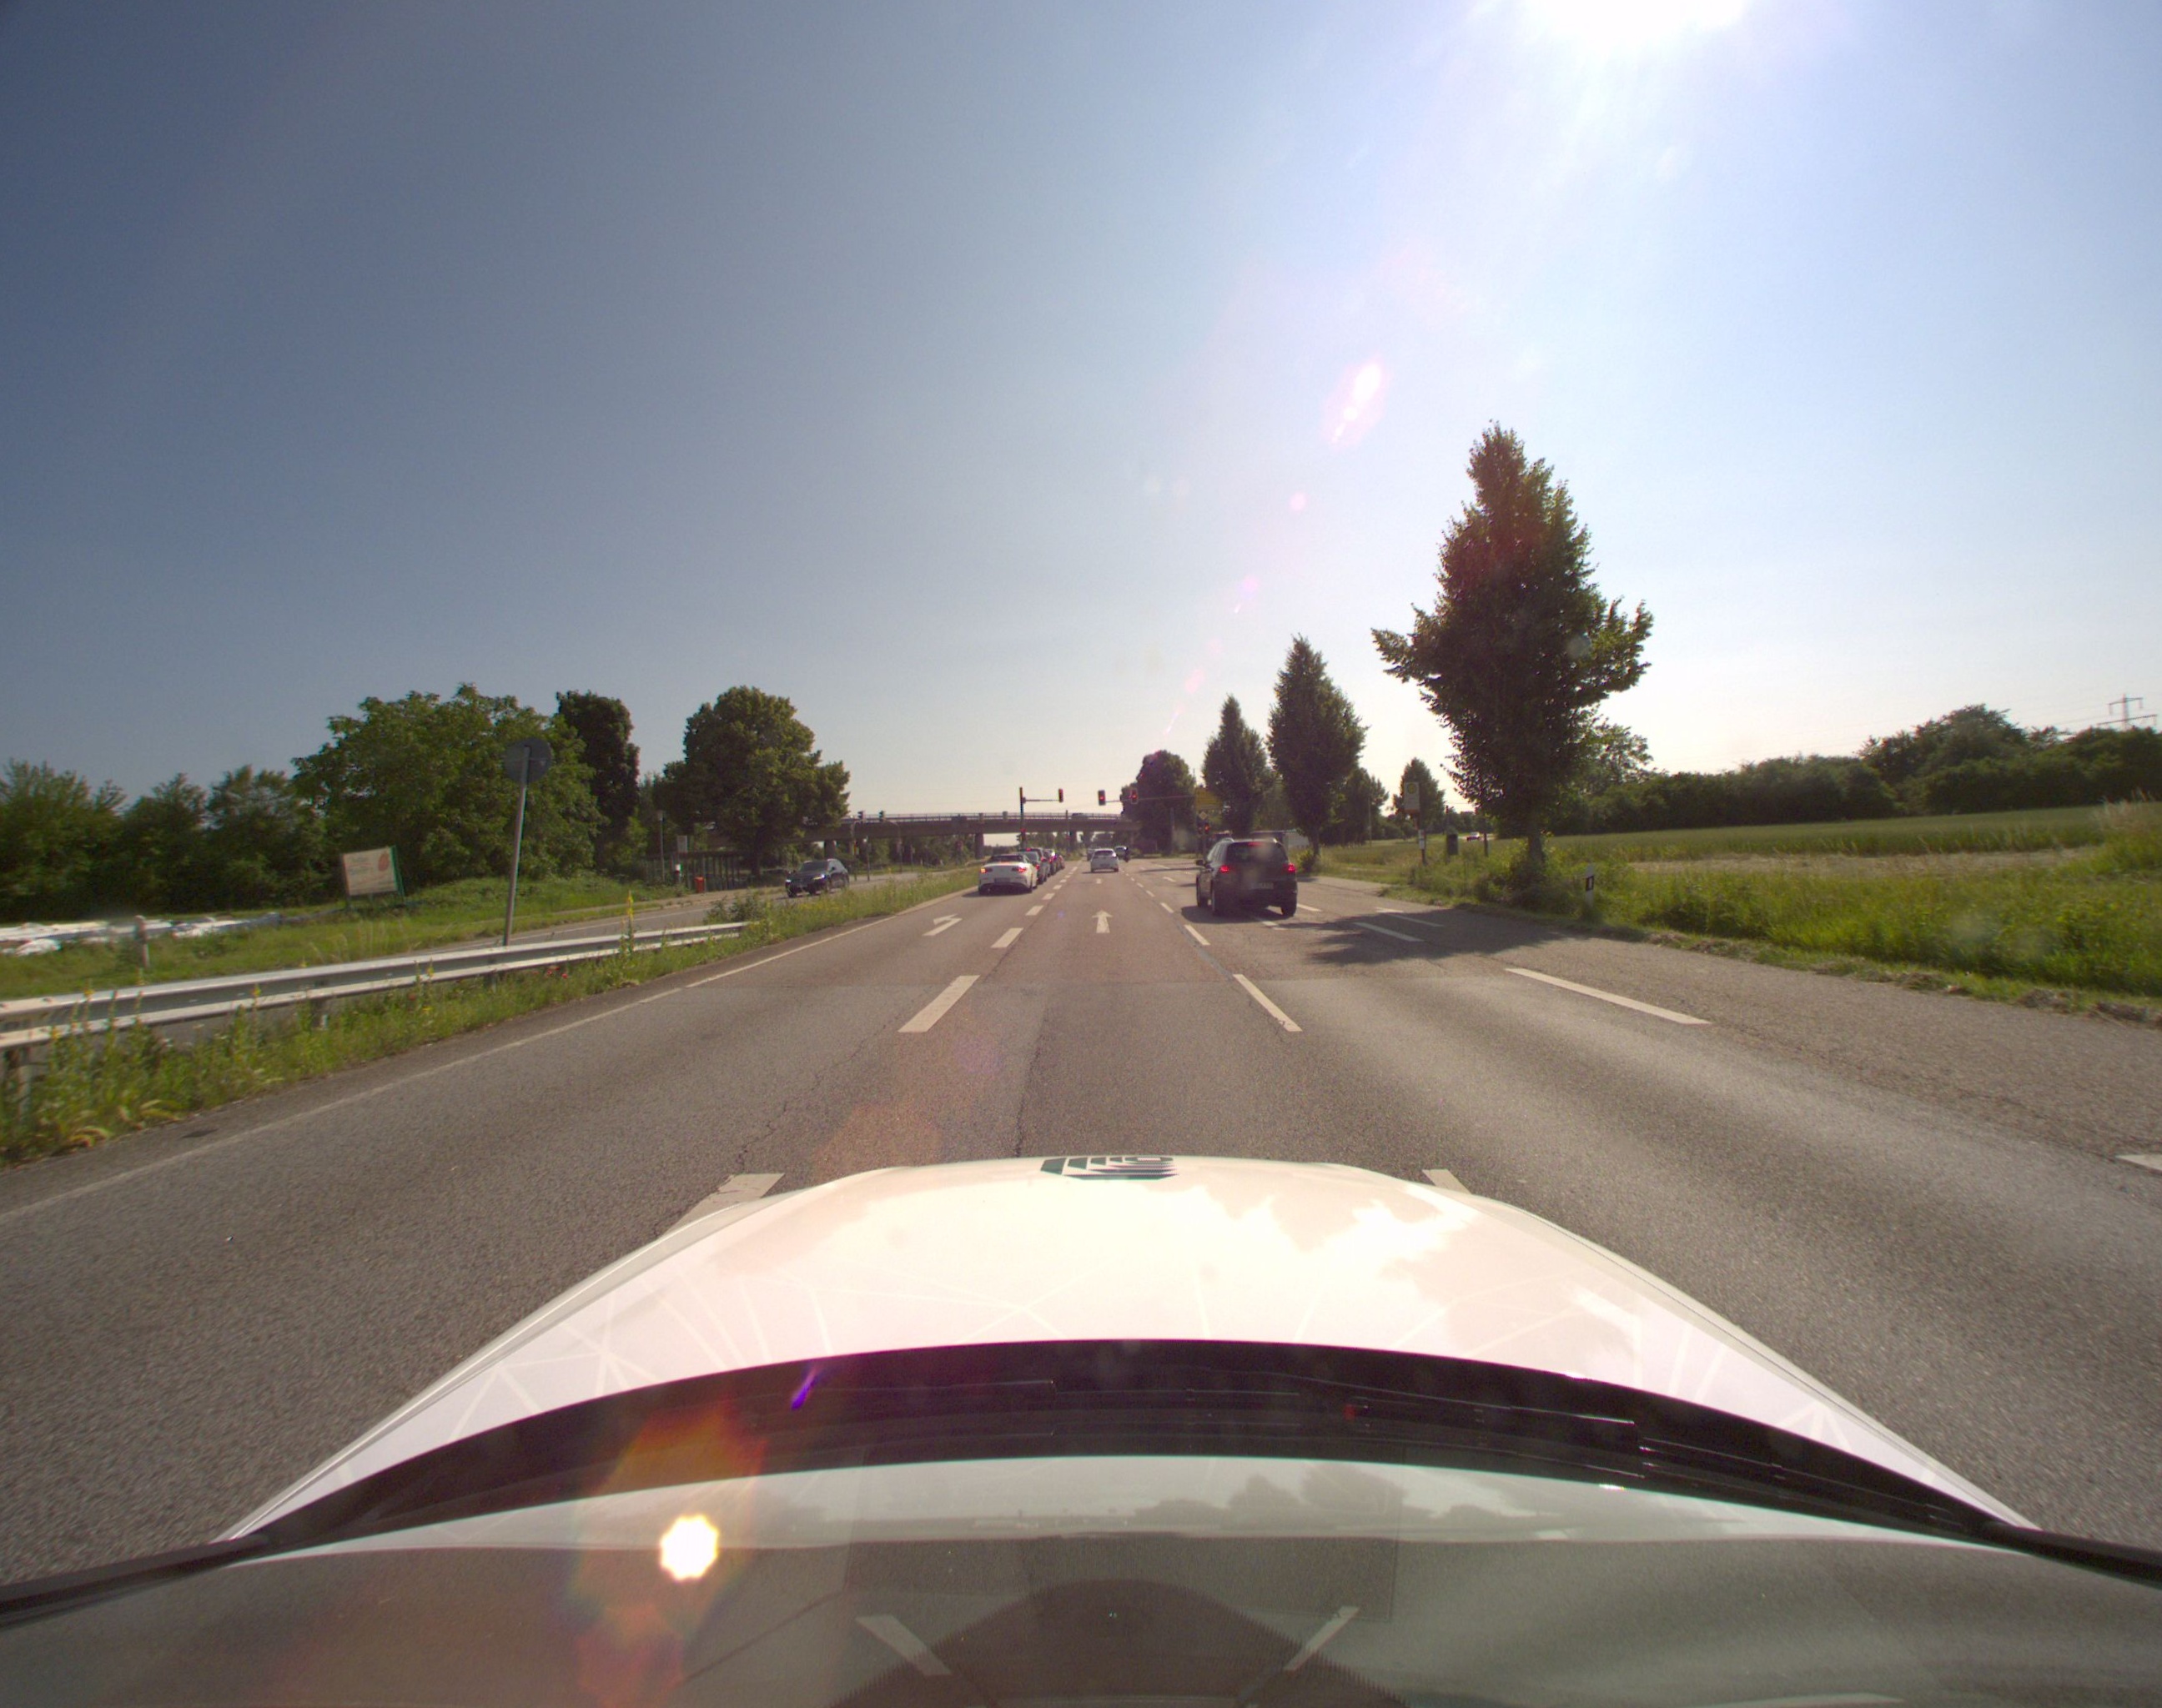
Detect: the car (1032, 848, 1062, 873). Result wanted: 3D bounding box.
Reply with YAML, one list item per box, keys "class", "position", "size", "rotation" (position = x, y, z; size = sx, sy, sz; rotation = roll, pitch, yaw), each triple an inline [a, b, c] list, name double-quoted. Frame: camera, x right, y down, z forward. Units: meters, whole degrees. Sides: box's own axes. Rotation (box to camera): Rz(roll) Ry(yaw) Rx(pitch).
- class: "car"
  position: [-2.278, 0.396, 54.999]
  size: [1.722, 1.547, 4.099]
  rotation: [-2, 0, 1]

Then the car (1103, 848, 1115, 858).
- class: "car"
  position: [4.829, -0.111, 141.050]
  size: [1.987, 1.631, 4.000]
  rotation: [0, -1, 0]

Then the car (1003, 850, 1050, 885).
- class: "car"
  position: [-2.393, 0.570, 36.646]
  size: [1.708, 1.410, 4.356]
  rotation: [-1, 1, 1]

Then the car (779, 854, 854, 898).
- class: "car"
  position: [-12.962, 1.014, 40.259]
  size: [1.987, 1.840, 4.953]
  rotation: [-5, 1, 0]

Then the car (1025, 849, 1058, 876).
- class: "car"
  position: [-2.304, 0.461, 48.510]
  size: [1.660, 1.474, 4.099]
  rotation: [-2, 0, 1]

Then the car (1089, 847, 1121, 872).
- class: "car"
  position: [1.504, 0.327, 50.780]
  size: [1.844, 1.460, 4.002]
  rotation: [-1, 0, 2]

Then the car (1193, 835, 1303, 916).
- class: "car"
  position: [3.734, 0.436, 18.873]
  size: [1.749, 1.655, 4.147]
  rotation: [-1, 0, 1]

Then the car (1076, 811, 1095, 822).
- class: "car"
  position: [0.839, -7.091, 155.093]
  size: [1.975, 1.949, 3.838]
  rotation: [-1, -1, 29]

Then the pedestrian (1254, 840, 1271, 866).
- class: "pedestrian"
  position: [13.706, -0.078, 61.496]
  size: [0.899, 1.839, 1.194]
  rotation: [-3, 0, -2]

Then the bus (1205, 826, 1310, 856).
- class: "bus"
  position: [20.883, -1.549, 96.408]
  size: [11.958, 2.877, 2.927]
  rotation: [-3, 0, -15]

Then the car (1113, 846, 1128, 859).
- class: "car"
  position: [5.019, -0.216, 103.298]
  size: [1.866, 1.640, 4.002]
  rotation: [-1, 0, 2]

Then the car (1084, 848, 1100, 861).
- class: "car"
  position: [1.394, -0.008, 99.573]
  size: [1.866, 1.492, 4.002]
  rotation: [-2, 0, 2]

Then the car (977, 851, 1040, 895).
- class: "car"
  position: [-2.552, 0.616, 29.686]
  size: [1.797, 1.425, 4.642]
  rotation: [-2, 0, 1]

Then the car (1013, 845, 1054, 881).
- class: "car"
  position: [-2.462, 0.423, 42.785]
  size: [1.735, 1.672, 4.358]
  rotation: [-3, 0, 1]

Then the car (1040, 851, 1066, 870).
- class: "car"
  position: [-2.092, 0.464, 61.536]
  size: [1.668, 1.335, 4.099]
  rotation: [-2, 0, 1]

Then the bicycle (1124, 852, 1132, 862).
- class: "bicycle"
  position: [4.726, 0.290, 82.005]
  size: [0.598, 0.983, 2.361]
  rotation: [-2, 0, 1]

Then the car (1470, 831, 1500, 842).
- class: "car"
  position: [60.124, -2.592, 121.133]
  size: [4.002, 1.398, 1.669]
  rotation: [-3, 0, -21]

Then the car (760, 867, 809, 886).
- class: "car"
  position: [-27.185, 2.057, 74.751]
  size: [4.127, 1.424, 1.859]
  rotation: [-3, 0, -19]

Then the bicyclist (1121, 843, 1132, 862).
- class: "bicyclist"
  position: [4.589, -0.173, 82.477]
  size: [1.003, 1.886, 1.327]
  rotation: [-2, 0, 2]
